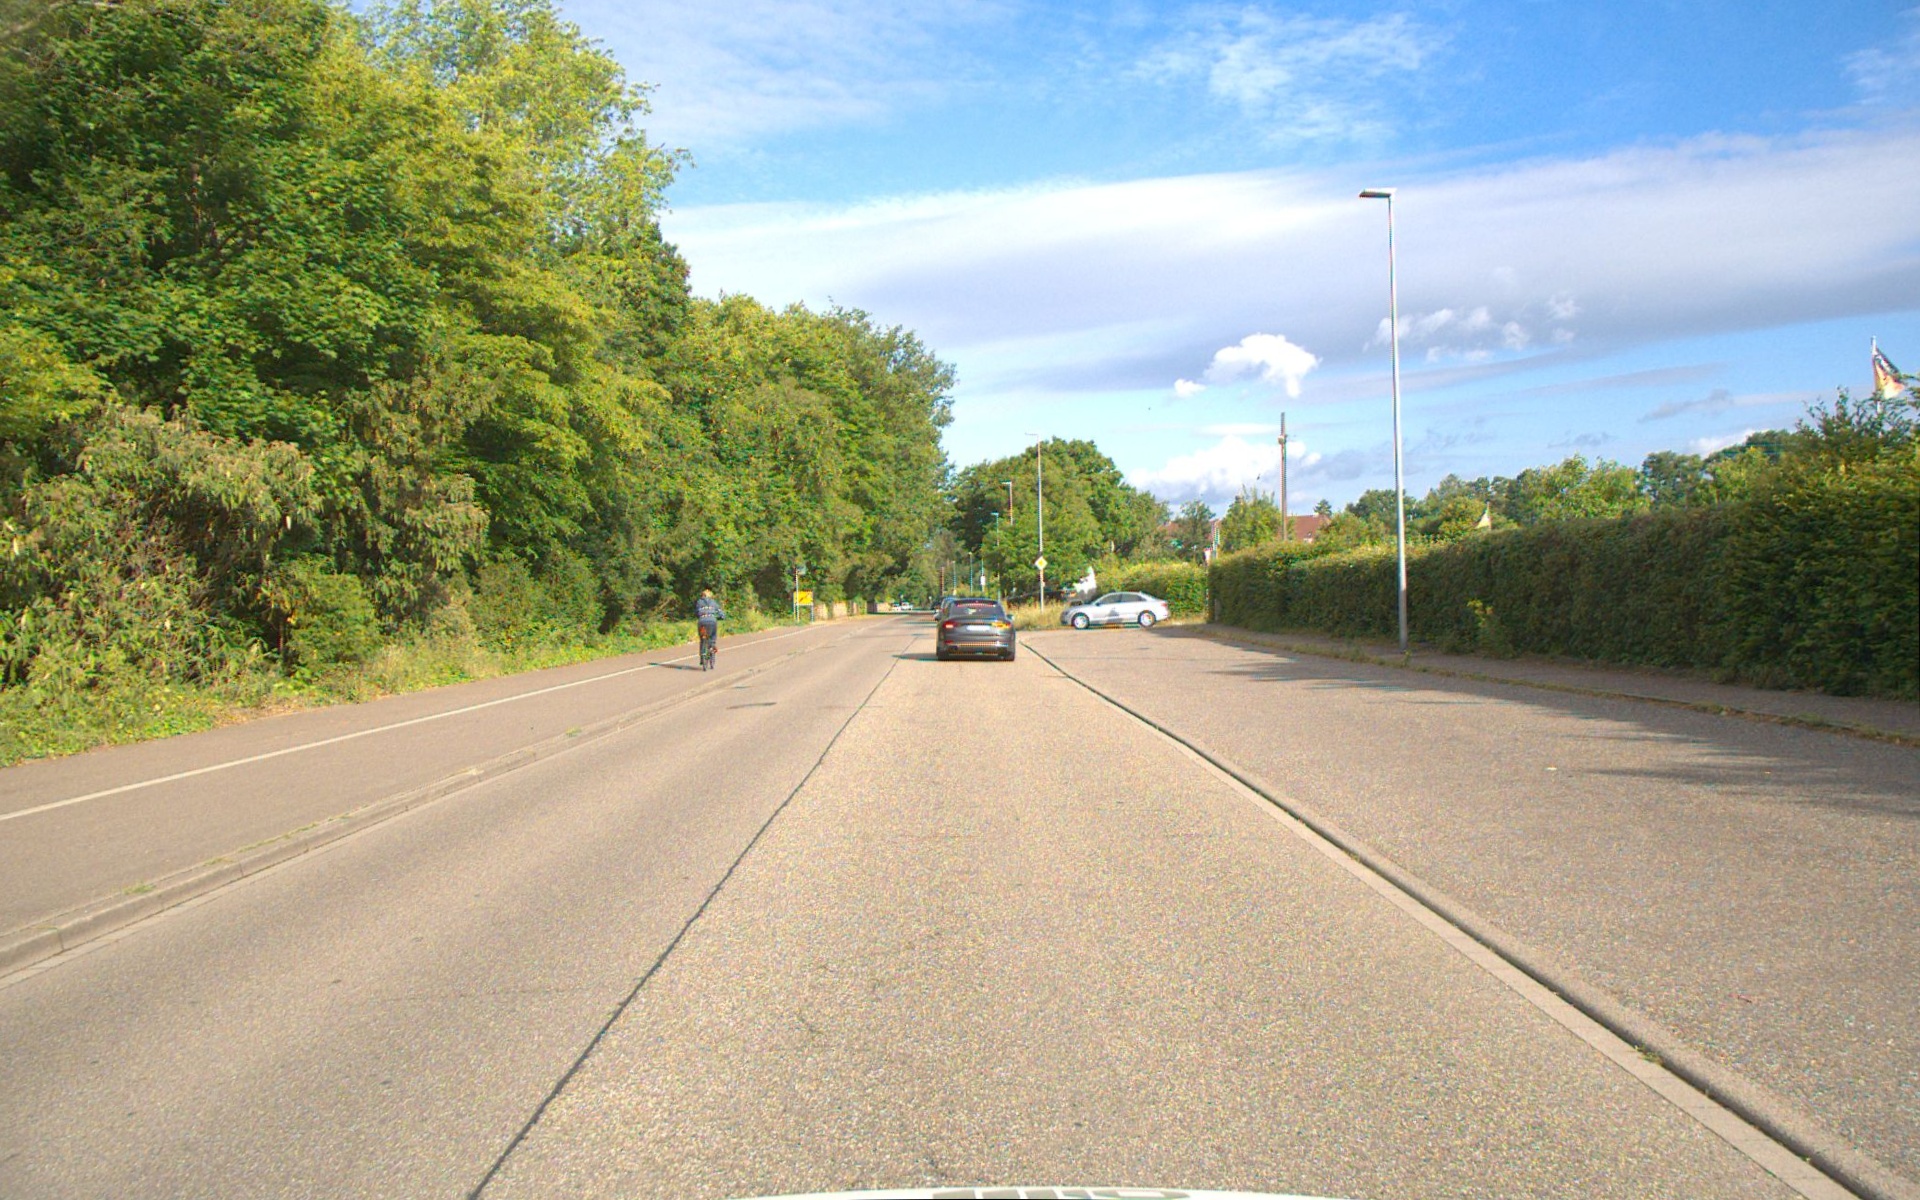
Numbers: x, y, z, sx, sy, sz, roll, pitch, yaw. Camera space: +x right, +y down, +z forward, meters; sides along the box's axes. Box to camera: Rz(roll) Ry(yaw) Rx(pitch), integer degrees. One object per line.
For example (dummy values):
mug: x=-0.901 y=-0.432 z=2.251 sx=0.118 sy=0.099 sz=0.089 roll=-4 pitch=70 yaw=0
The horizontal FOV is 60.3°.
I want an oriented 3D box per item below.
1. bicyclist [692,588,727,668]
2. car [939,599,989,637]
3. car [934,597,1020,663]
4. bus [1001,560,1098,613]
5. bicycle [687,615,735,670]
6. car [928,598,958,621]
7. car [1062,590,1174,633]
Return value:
bicyclist: x=-5.367 y=0.595 z=35.462 sx=0.596 sy=1.706 sz=0.883 roll=0 pitch=0 yaw=0
car: x=0.118 y=0.691 z=64.660 sx=1.848 sy=1.396 sz=4.053 roll=-1 pitch=0 yaw=-1
car: x=0.388 y=0.673 z=39.339 sx=1.926 sy=1.459 sz=4.336 roll=0 pitch=0 yaw=0
bus: x=5.093 y=-0.776 z=94.982 sx=5.259 sy=2.794 sz=2.067 roll=-3 pitch=0 yaw=-3
bicycle: x=-5.373 y=0.908 z=35.789 sx=0.649 sy=1.116 sz=2.348 roll=1 pitch=0 yaw=0
car: x=-1.130 y=0.627 z=108.836 sx=1.848 sy=1.396 sz=4.053 roll=-1 pitch=0 yaw=-1
car: x=6.208 y=0.452 z=64.942 sx=4.270 sy=1.468 sz=1.934 roll=-2 pitch=-1 yaw=6
